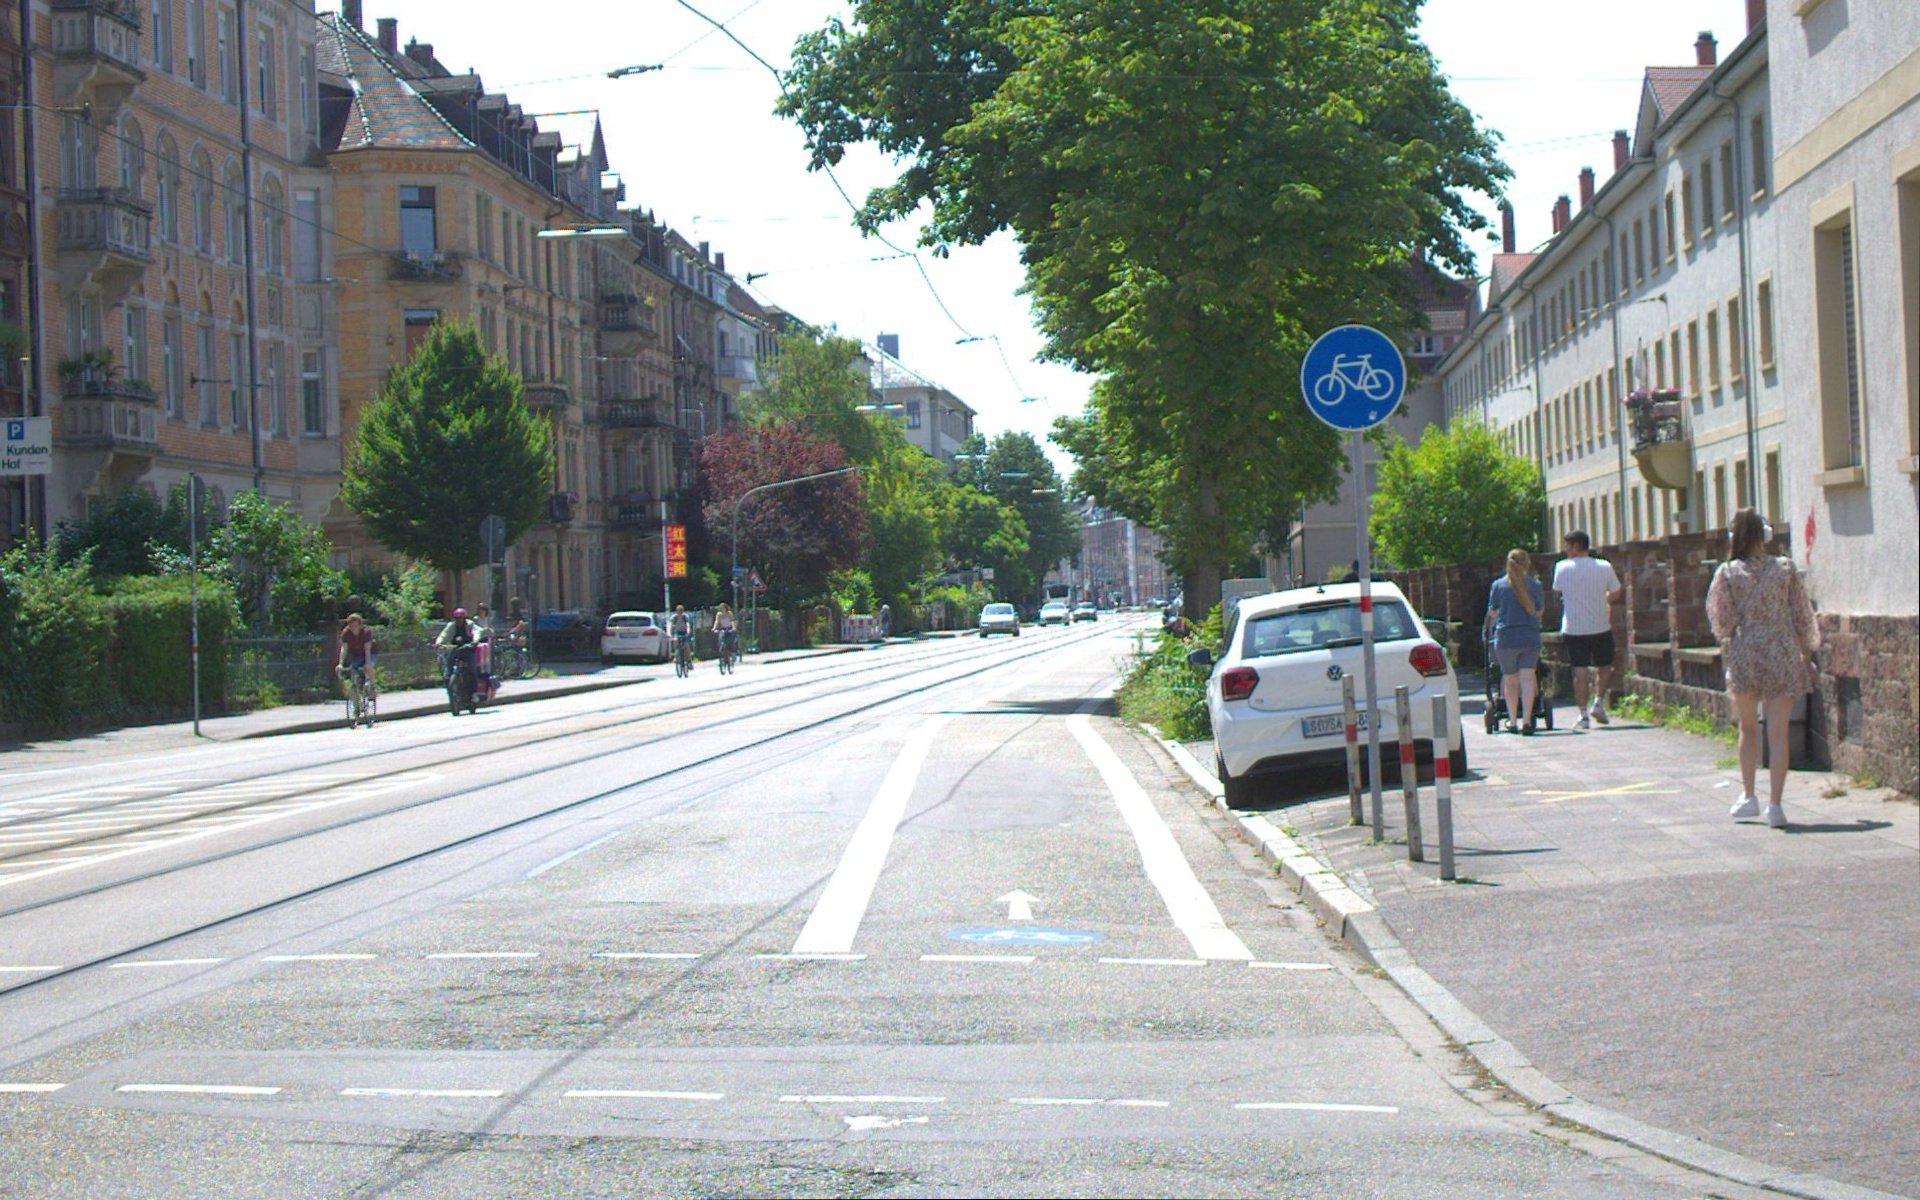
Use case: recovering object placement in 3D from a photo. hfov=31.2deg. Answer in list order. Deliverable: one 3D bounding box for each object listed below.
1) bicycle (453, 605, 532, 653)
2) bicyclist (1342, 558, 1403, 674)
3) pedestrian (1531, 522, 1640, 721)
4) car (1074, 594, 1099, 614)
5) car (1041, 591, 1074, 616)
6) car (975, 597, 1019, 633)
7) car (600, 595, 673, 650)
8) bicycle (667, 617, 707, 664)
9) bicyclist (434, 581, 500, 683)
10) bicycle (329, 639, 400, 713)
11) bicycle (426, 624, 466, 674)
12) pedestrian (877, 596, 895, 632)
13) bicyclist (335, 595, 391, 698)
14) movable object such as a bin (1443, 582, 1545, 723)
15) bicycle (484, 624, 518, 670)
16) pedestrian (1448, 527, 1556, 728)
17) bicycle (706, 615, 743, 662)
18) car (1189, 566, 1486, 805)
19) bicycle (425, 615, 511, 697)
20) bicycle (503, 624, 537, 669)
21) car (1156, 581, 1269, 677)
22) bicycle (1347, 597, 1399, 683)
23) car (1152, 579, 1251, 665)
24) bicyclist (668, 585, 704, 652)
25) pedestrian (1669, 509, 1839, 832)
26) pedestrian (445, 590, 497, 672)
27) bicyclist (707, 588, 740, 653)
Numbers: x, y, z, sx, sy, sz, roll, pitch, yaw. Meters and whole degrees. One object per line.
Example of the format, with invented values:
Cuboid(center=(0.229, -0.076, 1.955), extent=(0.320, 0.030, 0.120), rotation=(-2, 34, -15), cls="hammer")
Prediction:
Cuboid(center=(-10.871, 0.679, 80.008), extent=(1.706, 1.033, 0.551), rotation=(-2, 0, 9), cls="bicycle")
Cuboid(center=(5.326, 0.203, 44.418), extent=(0.711, 1.447, 1.010), rotation=(-3, 0, 6), cls="bicyclist")
Cuboid(center=(5.471, 0.186, 30.105), extent=(0.697, 1.664, 0.756), rotation=(-5, 0, 3), cls="pedestrian")
Cuboid(center=(9.576, 0.293, 259.908), extent=(1.686, 1.449, 3.748), rotation=(-2, 0, 4), cls="car")
Cuboid(center=(6.012, 0.190, 212.557), extent=(1.756, 1.419, 3.999), rotation=(-3, 0, 5), cls="car")
Cuboid(center=(1.652, 0.669, 153.341), extent=(1.685, 1.444, 4.000), rotation=(-3, 0, 4), cls="car")
Cuboid(center=(-9.836, 0.664, 104.686), extent=(1.865, 1.594, 4.102), rotation=(-1, 0, -1), cls="car")
Cuboid(center=(-6.665, 0.988, 84.027), extent=(0.629, 1.074, 1.875), rotation=(-4, 0, 4), cls="bicycle")
Cuboid(center=(-8.117, 0.524, 56.641), extent=(0.807, 1.624, 0.980), rotation=(-3, 0, 5), cls="bicyclist")
Cuboid(center=(-8.994, 1.142, 51.944), extent=(0.568, 1.034, 1.829), rotation=(-3, 0, 5), cls="bicycle")
Cuboid(center=(-10.676, 1.009, 71.422), extent=(0.496, 0.984, 1.711), rotation=(1, 1, 2), cls="bicycle")
Cuboid(center=(-3.417, 0.659, 158.818), extent=(0.751, 1.623, 0.833), rotation=(-2, 0, 1), cls="pedestrian")
Cuboid(center=(-9.013, 0.699, 51.894), extent=(0.562, 1.510, 0.892), rotation=(-3, 0, 5), cls="bicyclist")
Cuboid(center=(4.772, 0.462, 30.771), extent=(0.697, 1.182, 1.036), rotation=(-5, 0, 3), cls="movable object such as a bin")
Cuboid(center=(-10.217, 1.046, 76.546), extent=(0.439, 0.980, 1.711), rotation=(-2, 0, 2), cls="bicycle")
Cuboid(center=(4.694, 0.233, 29.814), extent=(0.697, 1.664, 0.869), rotation=(-5, 0, 3), cls="pedestrian")
Cuboid(center=(-5.747, 0.941, 84.018), extent=(0.581, 1.074, 1.890), rotation=(-4, 0, 4), cls="bicycle")
Cuboid(center=(2.679, 0.565, 25.236), extent=(1.777, 1.405, 4.156), rotation=(-7, 0, 3), cls="car")
Cuboid(center=(-8.091, 0.908, 56.676), extent=(0.807, 1.267, 2.550), rotation=(-3, 0, 5), cls="bicycle")
Cuboid(center=(-10.057, 1.054, 78.581), extent=(0.439, 0.980, 1.711), rotation=(-2, 0, 2), cls="bicycle")
Cuboid(center=(4.296, 0.466, 58.950), extent=(1.656, 1.510, 4.000), rotation=(-3, 0, 1), cls="car")
Cuboid(center=(5.332, 0.508, 44.435), extent=(0.602, 1.047, 1.822), rotation=(-3, 0, 6), cls="bicycle")
Cuboid(center=(4.717, 0.406, 67.704), extent=(1.733, 1.546, 4.453), rotation=(-3, 1, 2), cls="car")
Cuboid(center=(-6.703, 0.448, 84.004), extent=(0.634, 1.579, 1.028), rotation=(-4, 0, 4), cls="bicyclist")
Cuboid(center=(4.243, 0.368, 18.408), extent=(0.697, 1.664, 0.756), rotation=(-2, 0, 3), cls="pedestrian")
Cuboid(center=(-10.365, 0.652, 72.931), extent=(0.851, 1.717, 1.138), rotation=(0, 0, 5), cls="pedestrian")
Cuboid(center=(-5.774, 0.499, 84.034), extent=(0.592, 1.539, 0.952), rotation=(-4, 0, 4), cls="bicyclist")
